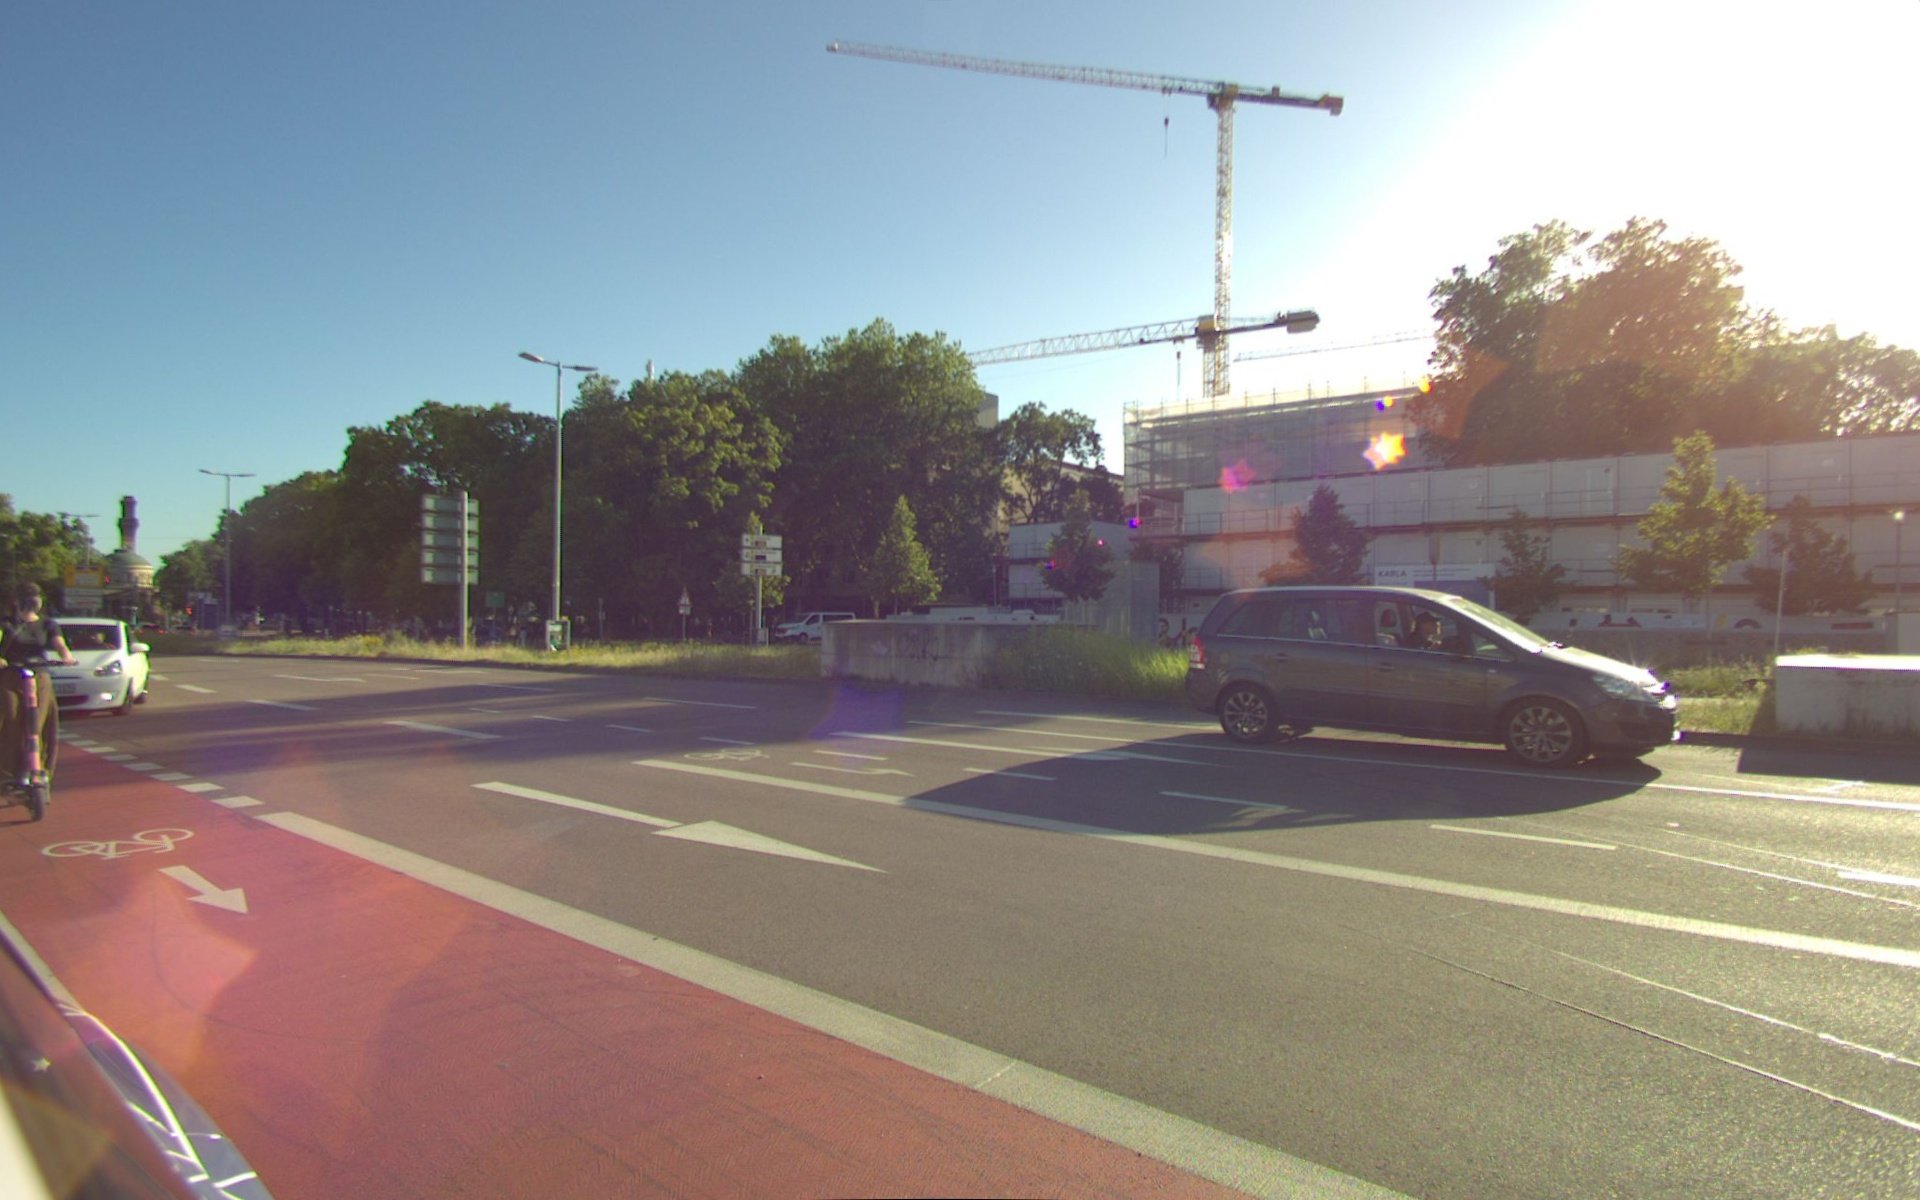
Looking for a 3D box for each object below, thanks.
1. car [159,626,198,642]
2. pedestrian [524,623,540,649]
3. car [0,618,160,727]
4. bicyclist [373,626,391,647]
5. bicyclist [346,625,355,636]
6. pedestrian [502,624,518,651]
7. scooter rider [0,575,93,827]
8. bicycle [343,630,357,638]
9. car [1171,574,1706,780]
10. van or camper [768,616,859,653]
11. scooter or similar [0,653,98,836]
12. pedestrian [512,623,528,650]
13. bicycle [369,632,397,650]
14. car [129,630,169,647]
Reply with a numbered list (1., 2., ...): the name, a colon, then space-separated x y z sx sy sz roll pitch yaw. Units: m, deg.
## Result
1. car: -75.706 3.282 98.025 3.993 1.519 1.975 -1 -2 37
2. pedestrian: -28.525 2.416 67.478 0.762 1.738 0.698 -1 -2 41
3. car: -13.860 1.039 15.873 1.651 1.460 3.900 -1 0 -32
4. bicyclist: -35.116 2.220 61.448 0.884 1.292 0.631 -1 -2 36
5. bicyclist: -73.559 3.637 122.095 0.602 1.291 0.715 0 -2 -1
6. pedestrian: -29.452 2.429 66.198 0.762 1.738 0.698 -1 -2 41
7. scooter rider: -7.012 0.722 7.538 0.811 1.788 0.721 -1 -1 41
8. bicycle: -73.561 4.093 122.082 0.602 0.849 1.746 0 -2 -1
9. car: 4.608 0.633 10.159 4.479 1.619 1.973 -1 0 41
10. van or camper: -8.925 2.062 61.942 1.948 2.029 5.576 -1 0 42
11. scooter or similar: -7.120 1.029 7.624 1.664 1.211 0.721 -1 -1 41
12. pedestrian: -29.078 2.424 66.904 0.762 1.738 0.656 -1 -2 41
13. bicycle: -34.969 2.481 61.333 2.239 1.030 0.631 -1 -2 36
14. car: -69.658 3.293 86.904 3.996 1.409 1.849 -1 -2 40
